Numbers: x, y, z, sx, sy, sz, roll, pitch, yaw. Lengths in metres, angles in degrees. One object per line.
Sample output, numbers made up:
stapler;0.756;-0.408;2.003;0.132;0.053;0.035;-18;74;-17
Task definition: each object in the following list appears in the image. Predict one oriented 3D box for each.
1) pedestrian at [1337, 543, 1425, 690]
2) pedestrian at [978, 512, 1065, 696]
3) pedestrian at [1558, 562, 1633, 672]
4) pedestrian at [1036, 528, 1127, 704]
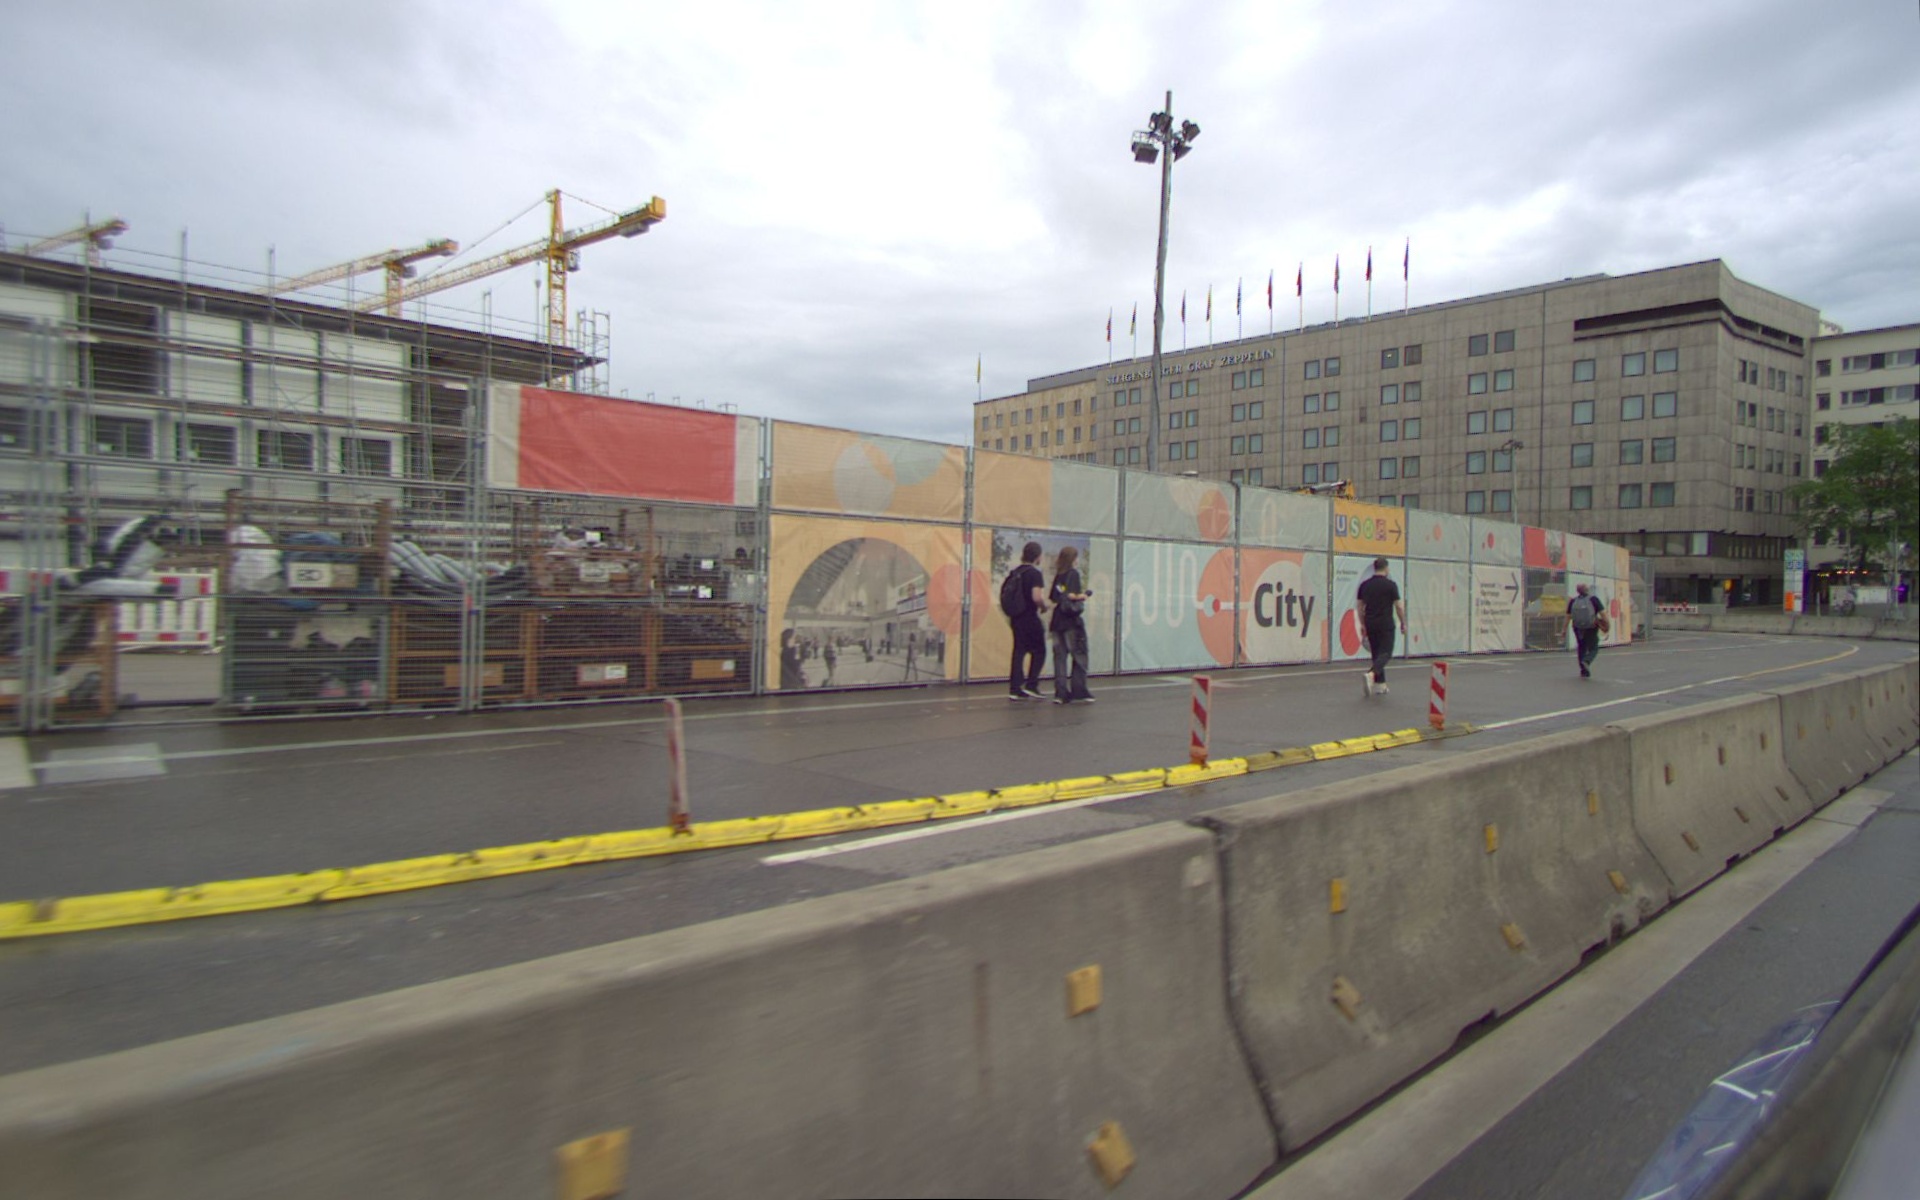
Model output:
pedestrian;5.672;0.204;13.636;0.805;1.901;0.798;0;1;-39
pedestrian;0.714;0.040;11.696;0.674;2.039;0.680;2;0;-39
pedestrian;11.059;0.281;17.629;0.674;1.857;0.927;0;1;-39
pedestrian;1.340;0.162;11.225;0.615;1.857;0.798;0;1;-39
